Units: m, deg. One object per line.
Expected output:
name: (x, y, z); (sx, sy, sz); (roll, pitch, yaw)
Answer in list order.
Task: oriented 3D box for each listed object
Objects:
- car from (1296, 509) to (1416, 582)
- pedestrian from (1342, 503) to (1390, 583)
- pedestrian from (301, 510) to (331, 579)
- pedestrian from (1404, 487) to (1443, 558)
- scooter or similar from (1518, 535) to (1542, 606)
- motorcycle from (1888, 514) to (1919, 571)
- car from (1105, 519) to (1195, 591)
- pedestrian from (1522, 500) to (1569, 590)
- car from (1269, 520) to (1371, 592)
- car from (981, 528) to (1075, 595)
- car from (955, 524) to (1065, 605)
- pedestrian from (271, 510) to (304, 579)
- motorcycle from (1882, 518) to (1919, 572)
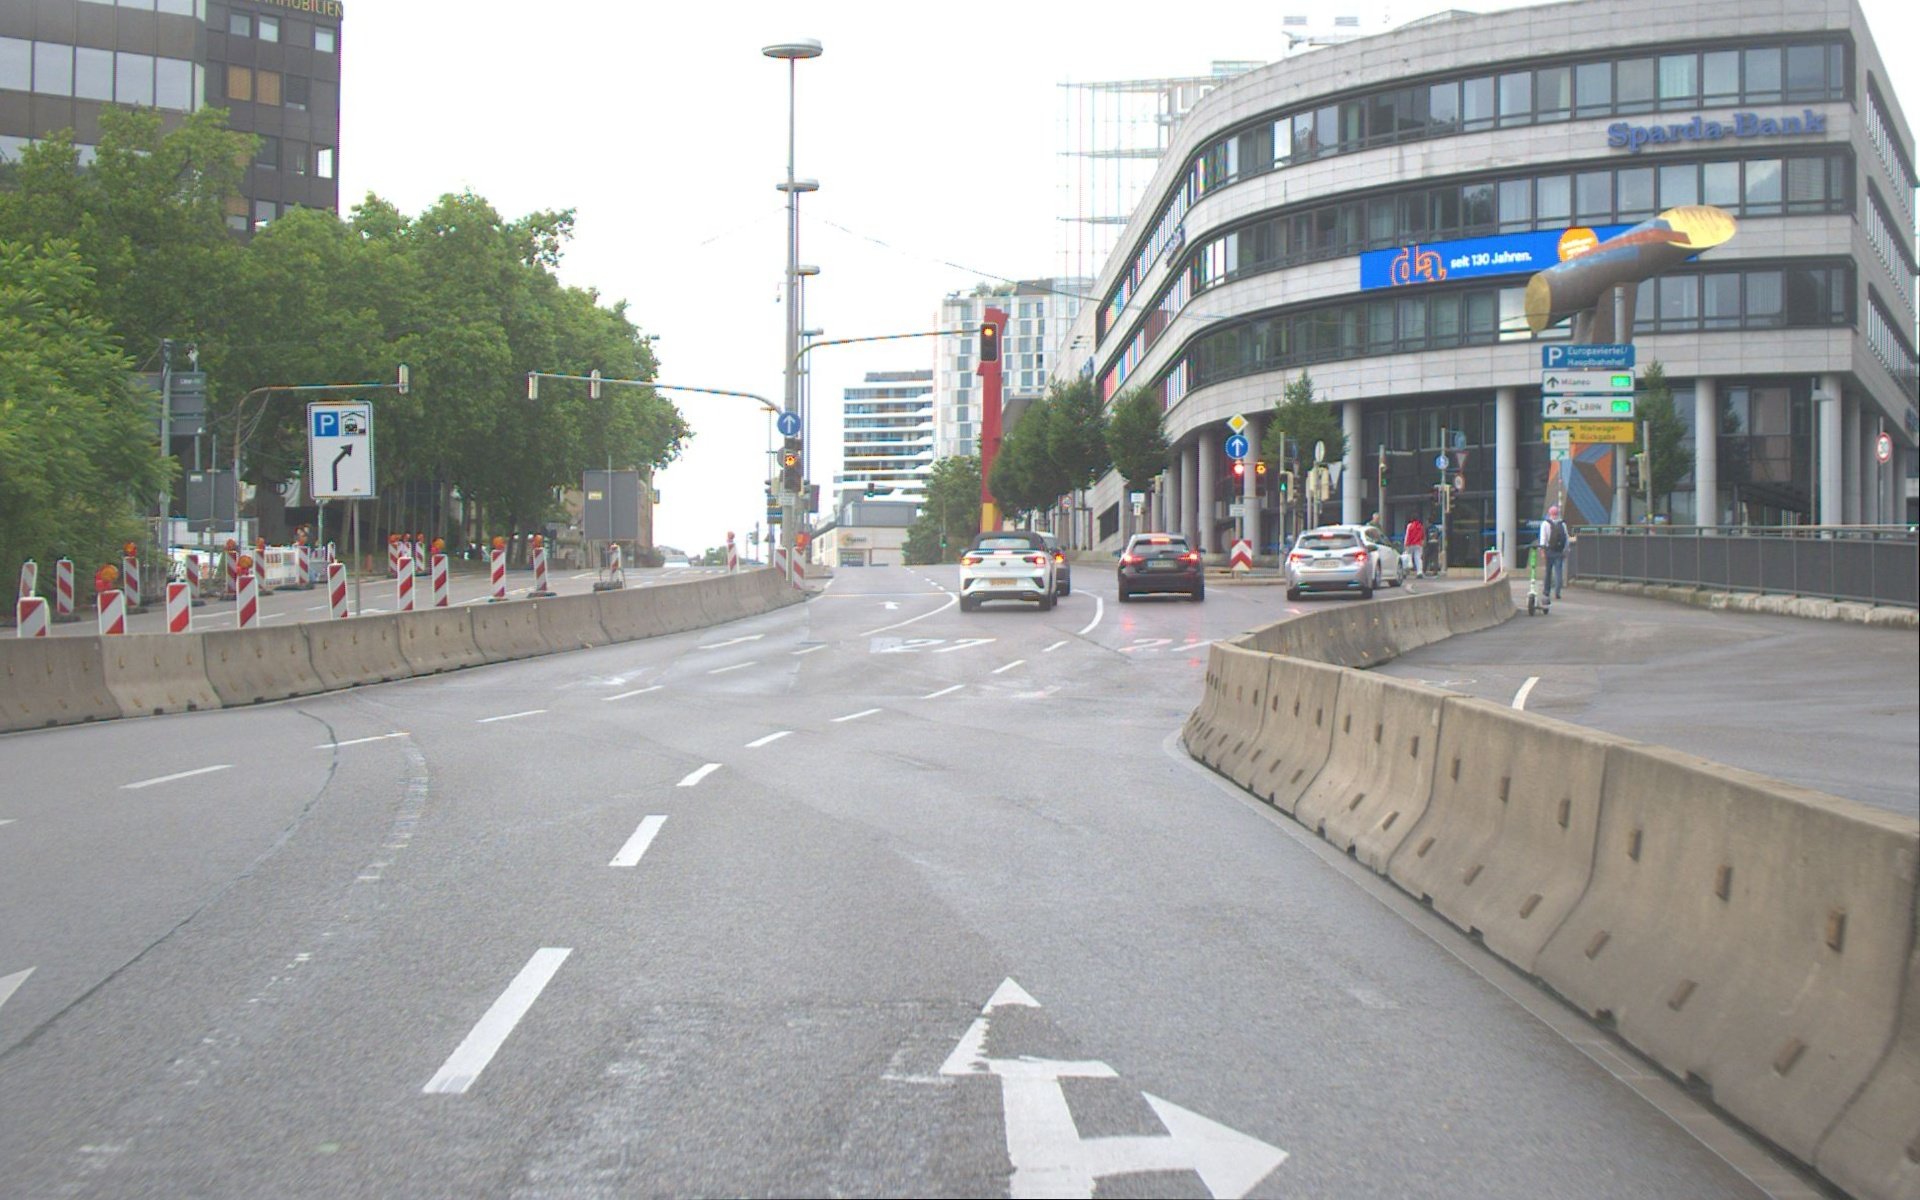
car: (9.084, -1.263, 78.569); (1.773, 1.628, 4.577); (1, 1, 19)
pedestrian: (10.854, -1.528, 91.838); (0.852, 2.091, 0.904); (2, 1, -24)
pedestrian: (-17.938, -1.533, 95.786); (0.672, 1.895, 0.775); (0, -1, 1)
pedestrian: (12.669, -2.111, 93.930); (0.841, 1.898, 0.860); (0, -1, 25)
scooter or similar: (9.310, -0.483, 56.153); (0.349, 1.158, 0.572); (0, 0, 14)
motorcycle: (23.005, -1.377, 81.679); (1.724, 1.349, 0.607); (-1, 1, -8)
car: (3.966, -0.922, 72.207); (1.755, 1.402, 4.227); (2, 0, 2)
pedestrian: (11.270, -1.059, 66.173); (0.729, 1.705, 0.843); (0, -1, -2)
car: (7.482, -0.905, 71.848); (1.701, 1.446, 4.616); (1, 0, 1)
car: (1.482, -0.876, 76.389); (1.739, 1.438, 4.001); (0, 1, -4)
car: (1.025, -0.727, 67.664); (1.964, 1.543, 4.218); (0, 1, 4)
pedestrian: (-18.740, -1.545, 95.826); (0.761, 1.916, 0.742); (0, -1, 1)
motorcycle: (22.830, -1.329, 82.399); (1.240, 1.266, 0.620); (-1, 1, -8)
